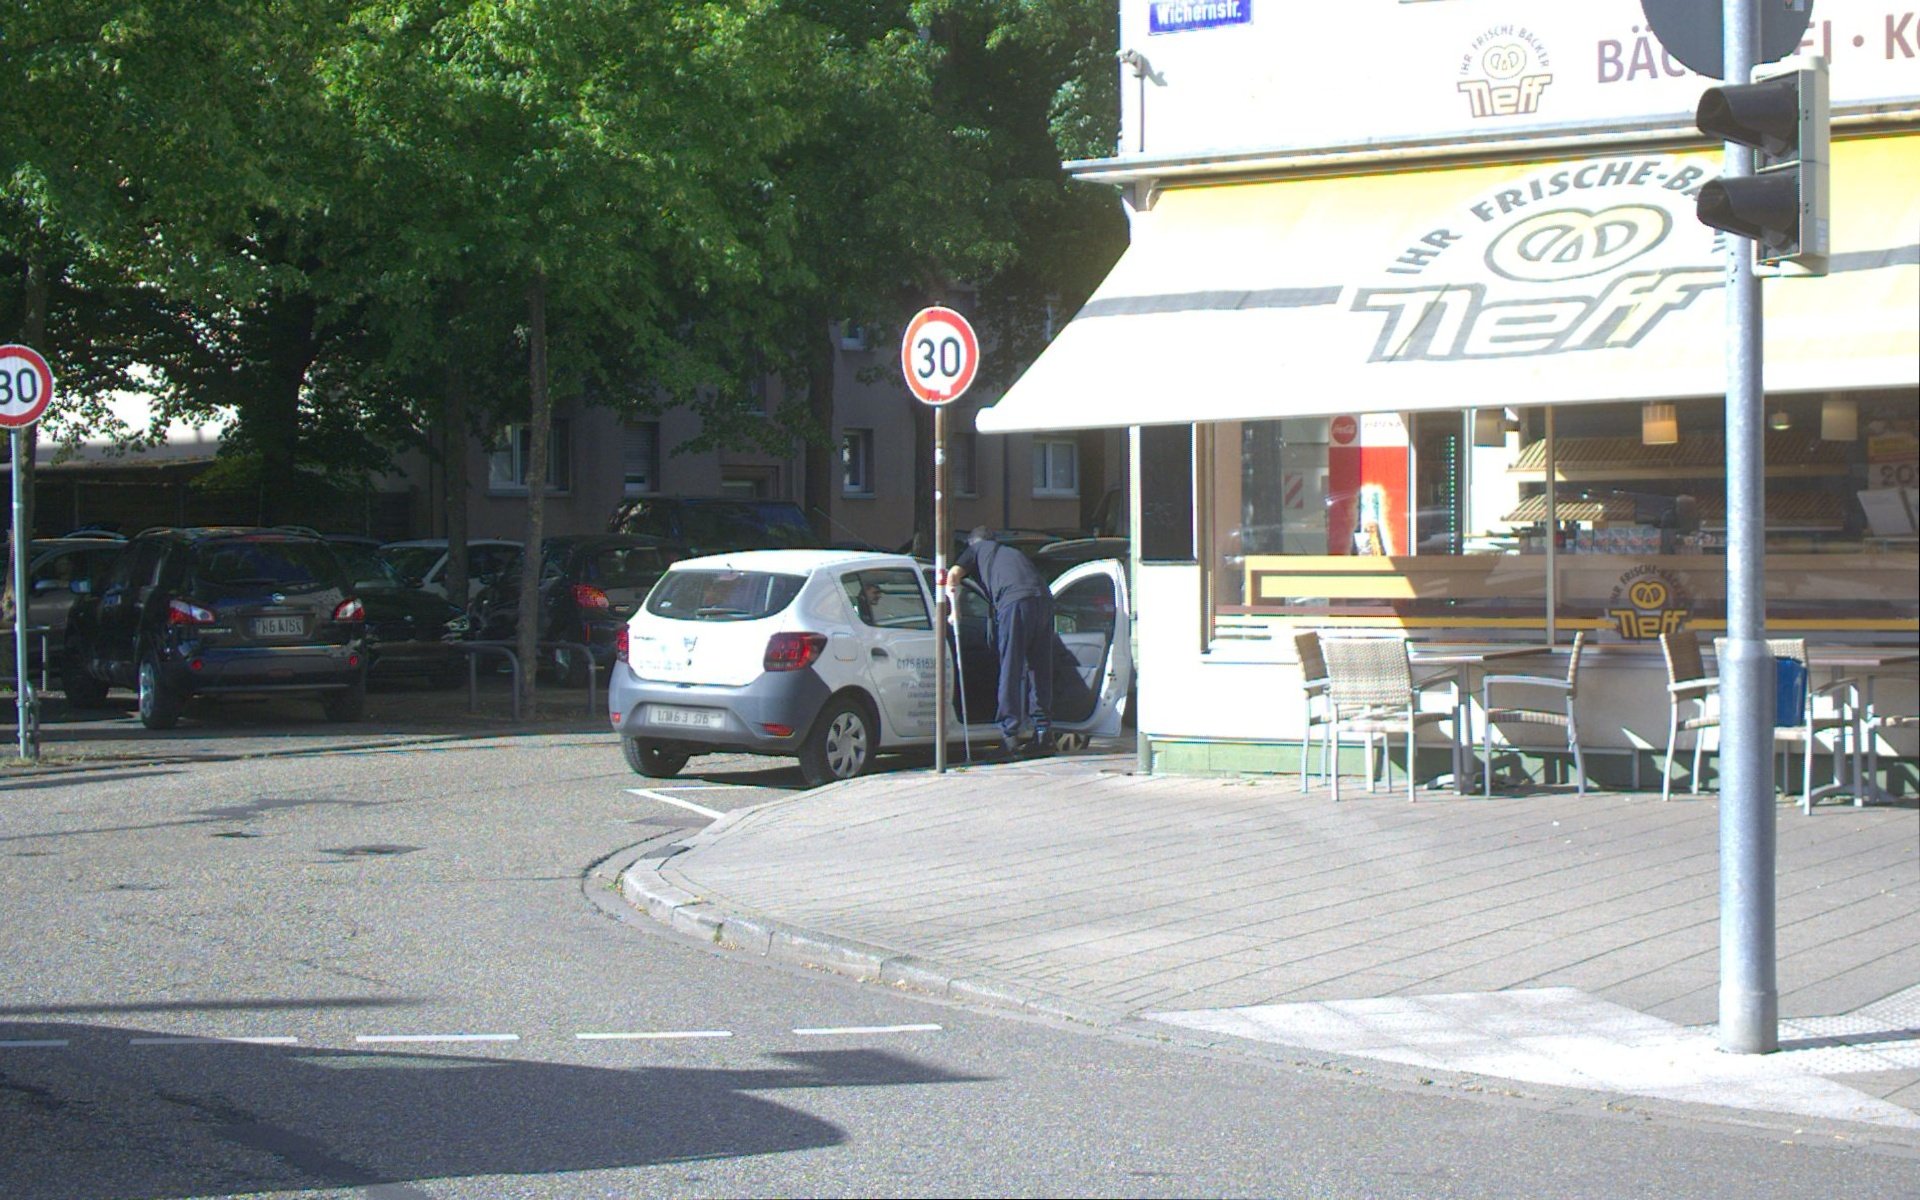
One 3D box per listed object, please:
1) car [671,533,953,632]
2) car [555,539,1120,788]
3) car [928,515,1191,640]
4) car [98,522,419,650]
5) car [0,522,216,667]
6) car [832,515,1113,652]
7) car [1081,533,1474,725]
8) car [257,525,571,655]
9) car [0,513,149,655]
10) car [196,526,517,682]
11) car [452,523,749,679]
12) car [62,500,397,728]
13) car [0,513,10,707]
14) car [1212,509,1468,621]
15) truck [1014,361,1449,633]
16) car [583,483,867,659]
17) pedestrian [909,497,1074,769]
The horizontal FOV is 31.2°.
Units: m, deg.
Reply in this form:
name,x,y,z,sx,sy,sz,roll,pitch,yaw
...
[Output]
name,x,y,z,sx,sy,sz,roll,pitch,yaw
car,-2.021,-0.266,48.319,1.767,1.290,4.406,-1,0,31
car,-0.737,0.354,23.301,1.722,1.492,4.015,1,2,36
car,1.208,-0.328,43.988,1.807,1.502,4.345,-1,2,-21
car,-9.035,-0.216,44.537,1.757,1.564,3.941,1,2,35
car,-9.998,-0.088,37.003,1.756,1.481,3.943,1,2,28
car,0.077,-0.236,39.996,1.807,1.502,4.345,-1,2,-21
car,2.674,0.185,28.329,1.600,1.458,3.665,1,2,35
car,-6.584,-0.165,41.850,1.756,1.481,3.943,1,2,28
car,-11.699,-0.200,40.265,1.757,1.634,4.239,1,2,33
car,-6.005,-0.008,33.897,1.815,1.417,3.949,-1,2,-31
car,-3.700,-0.038,34.861,1.755,1.476,3.824,-1,2,-27
car,-6.302,0.045,29.294,1.831,1.665,4.338,-1,3,-25
car,-9.818,0.075,29.673,1.916,1.605,4.000,-1,1,-34
car,5.331,-0.520,48.710,1.842,1.497,4.001,0,2,-24
truck,3.414,-1.322,45.477,2.538,3.282,7.327,-1,1,-24
car,-2.727,-0.366,38.818,1.929,1.867,4.504,-1,2,-21
pedestrian,0.202,0.198,22.240,0.761,1.716,0.743,1,2,41
